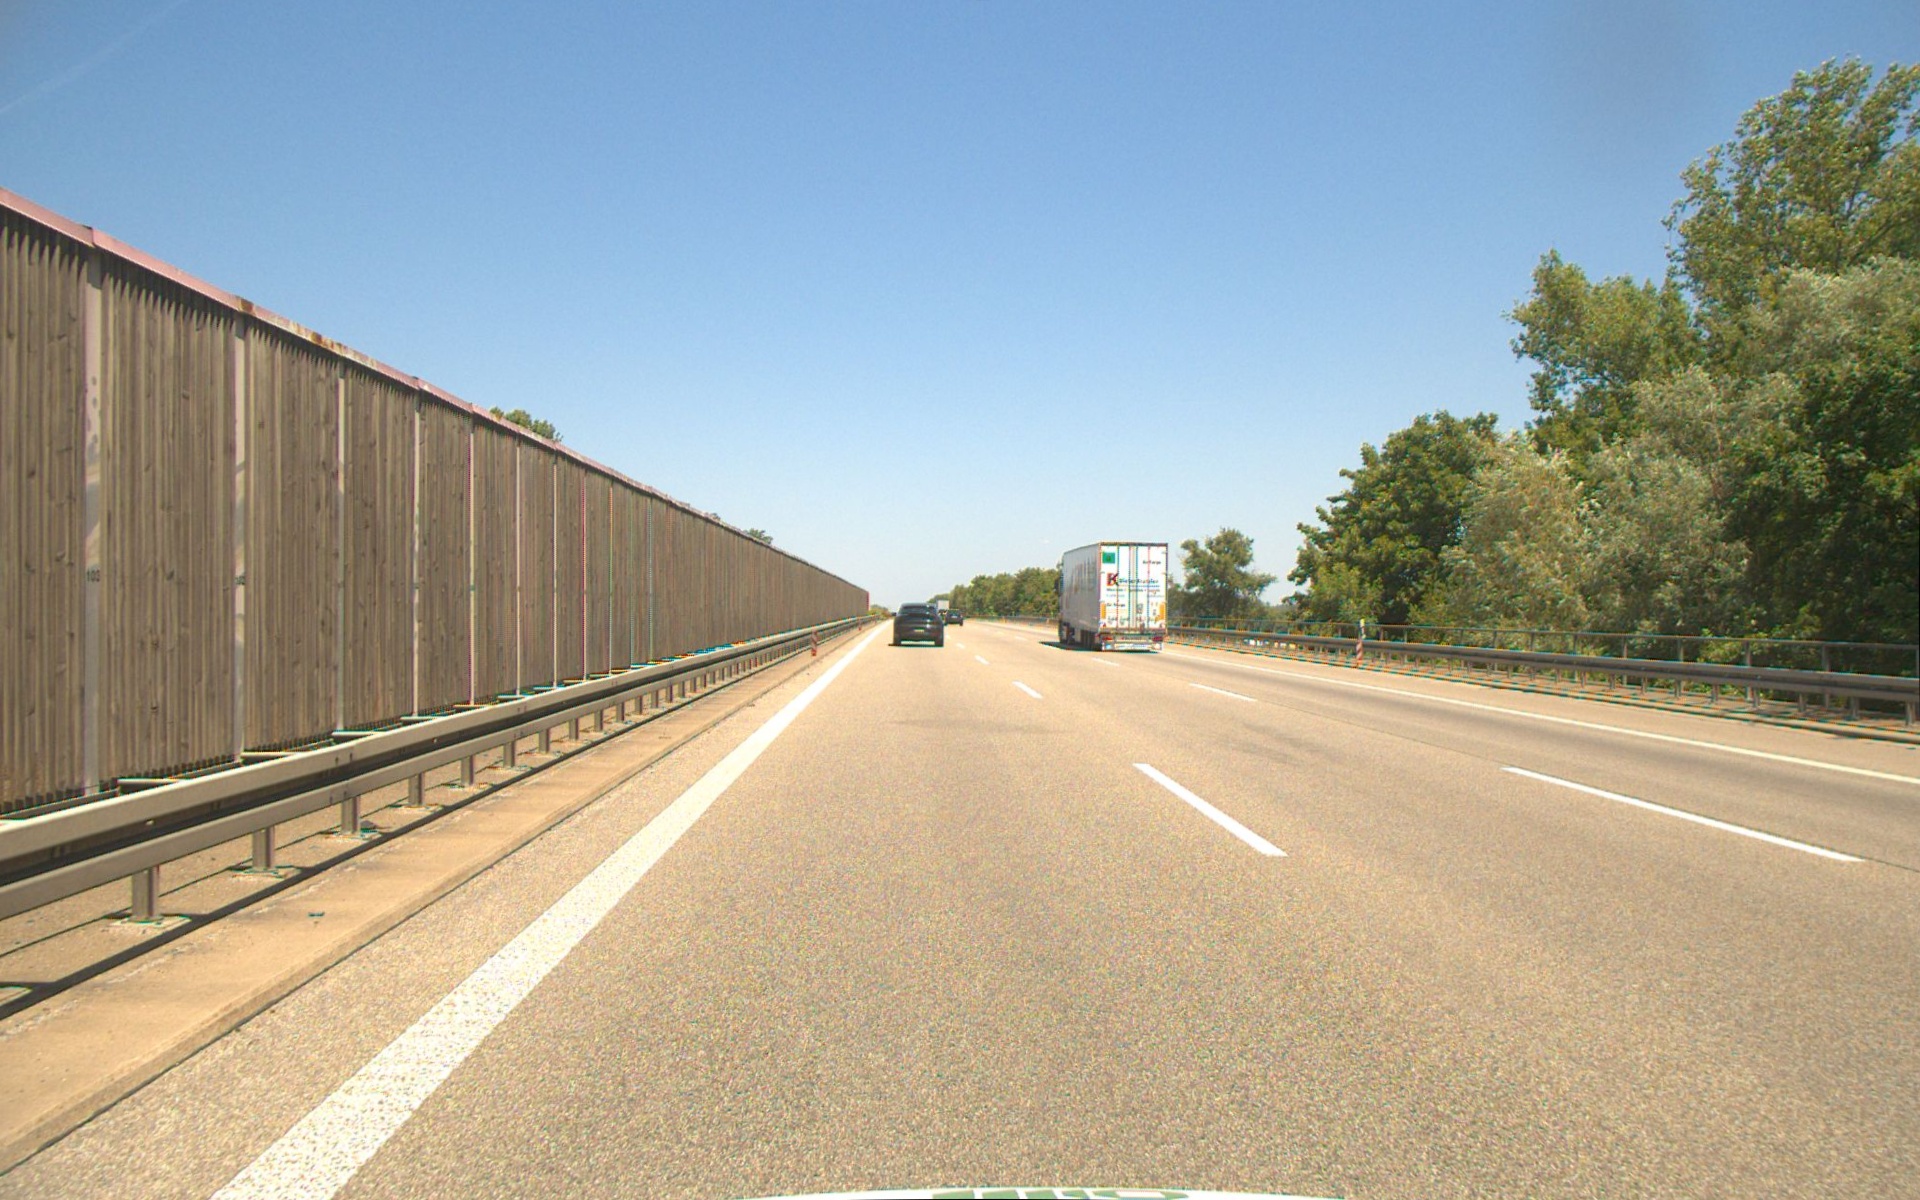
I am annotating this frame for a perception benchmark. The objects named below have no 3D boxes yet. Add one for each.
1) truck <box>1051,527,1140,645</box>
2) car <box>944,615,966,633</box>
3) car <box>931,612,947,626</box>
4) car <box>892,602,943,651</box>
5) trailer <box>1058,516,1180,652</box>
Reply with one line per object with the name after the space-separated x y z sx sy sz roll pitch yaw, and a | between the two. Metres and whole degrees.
6.001 -0.591 74.309 3.169 4.975 6.969 1 0 -2 | truck
-0.465 2.184 148.179 1.864 1.612 4.302 0 -1 -2 | car
-2.565 2.253 198.869 1.864 1.612 4.302 0 -1 -2 | car
-1.701 1.020 64.805 1.843 1.823 3.997 0 0 -3 | car
6.232 -0.563 67.386 3.203 4.922 14.024 1 0 -1 | trailer
